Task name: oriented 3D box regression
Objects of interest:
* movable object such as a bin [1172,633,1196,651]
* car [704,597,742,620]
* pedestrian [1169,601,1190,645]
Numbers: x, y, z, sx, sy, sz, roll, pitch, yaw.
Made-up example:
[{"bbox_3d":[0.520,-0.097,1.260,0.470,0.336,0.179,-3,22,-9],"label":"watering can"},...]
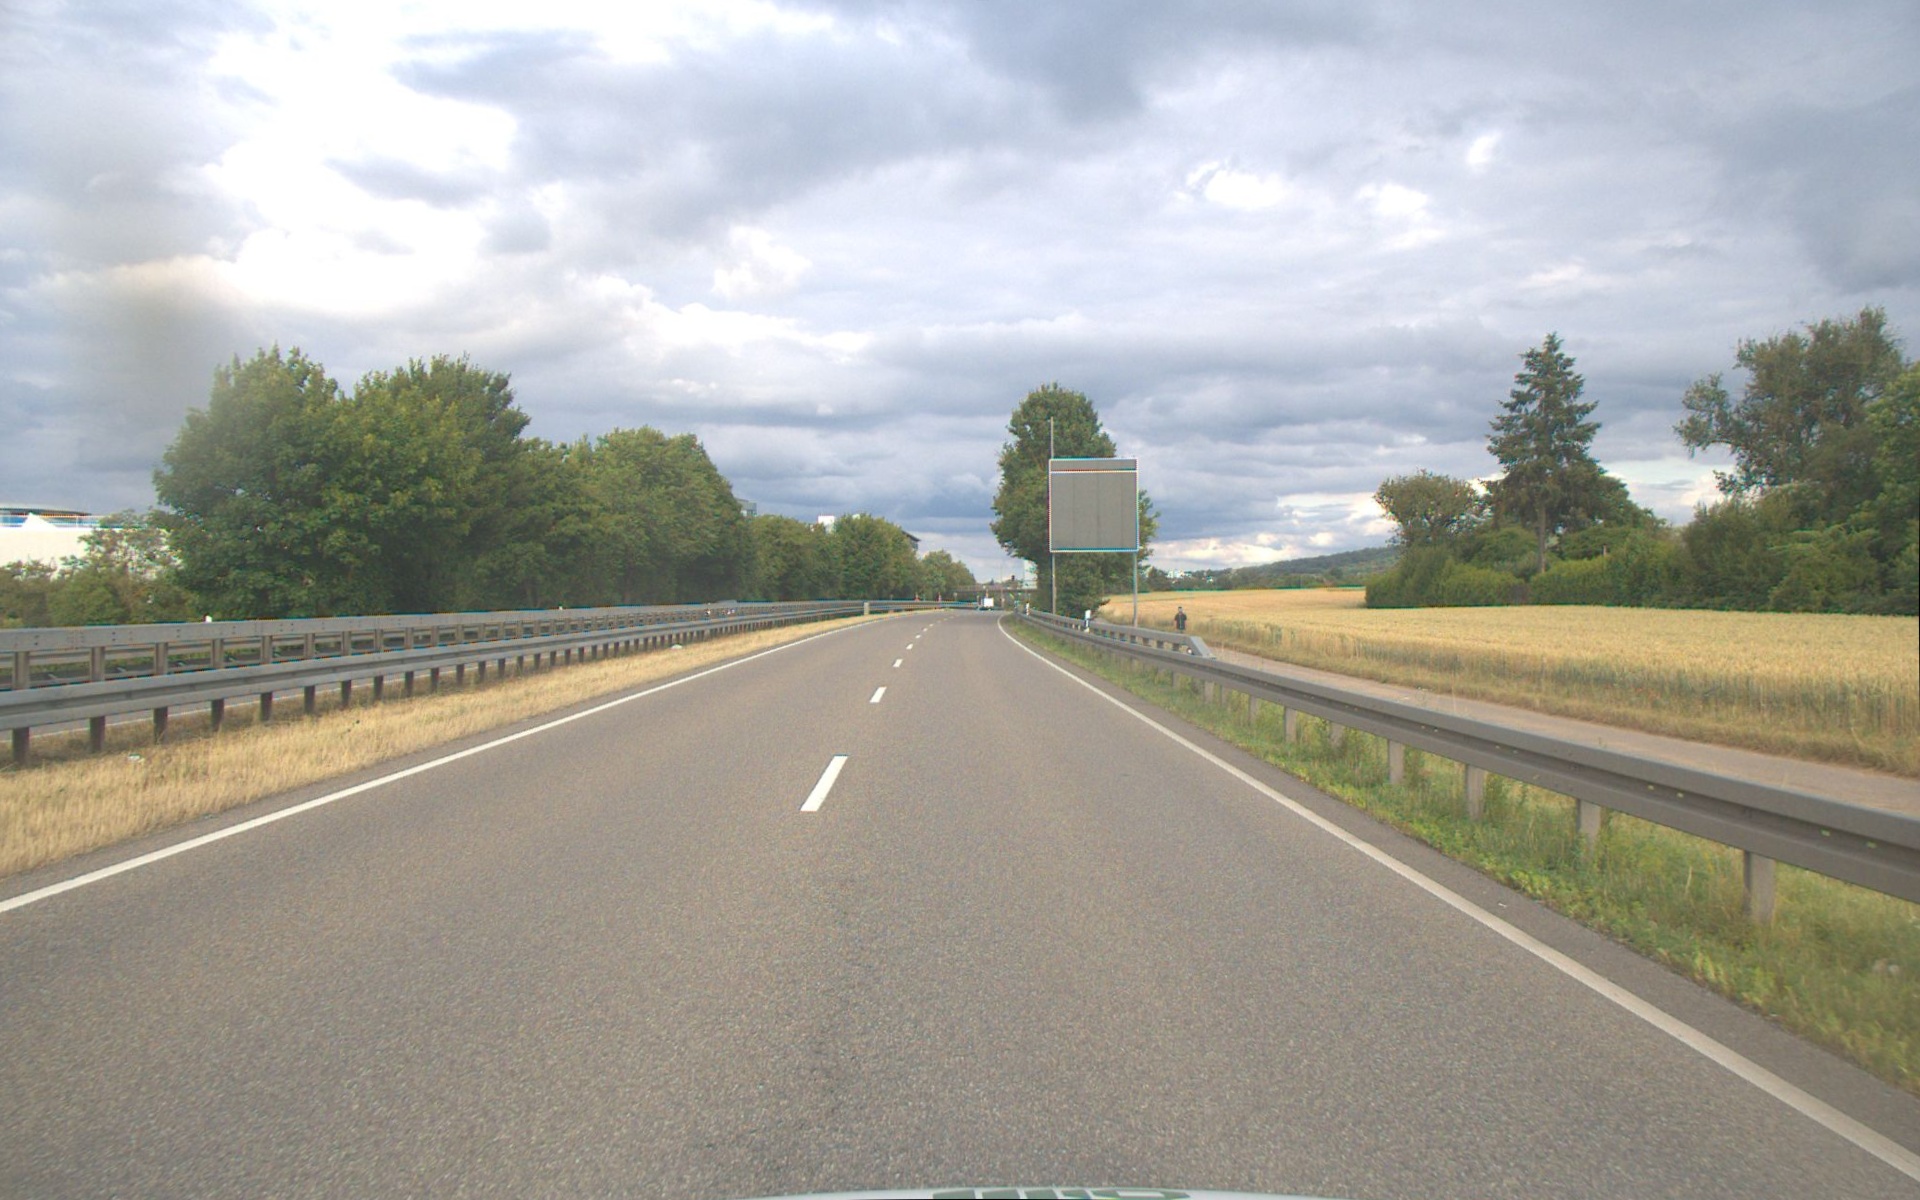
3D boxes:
[{"bbox_3d":[8.597,1.623,63.553,0.717,0.657,1.235,2,0,-1],"label":"movable object such as a bin"},{"bbox_3d":[-14.867,0.532,104.050,1.745,1.375,4.576,-1,0,-1],"label":"car"},{"bbox_3d":[9.704,1.011,73.296,0.755,1.900,0.940,1,-1,-1],"label":"pedestrian"}]
